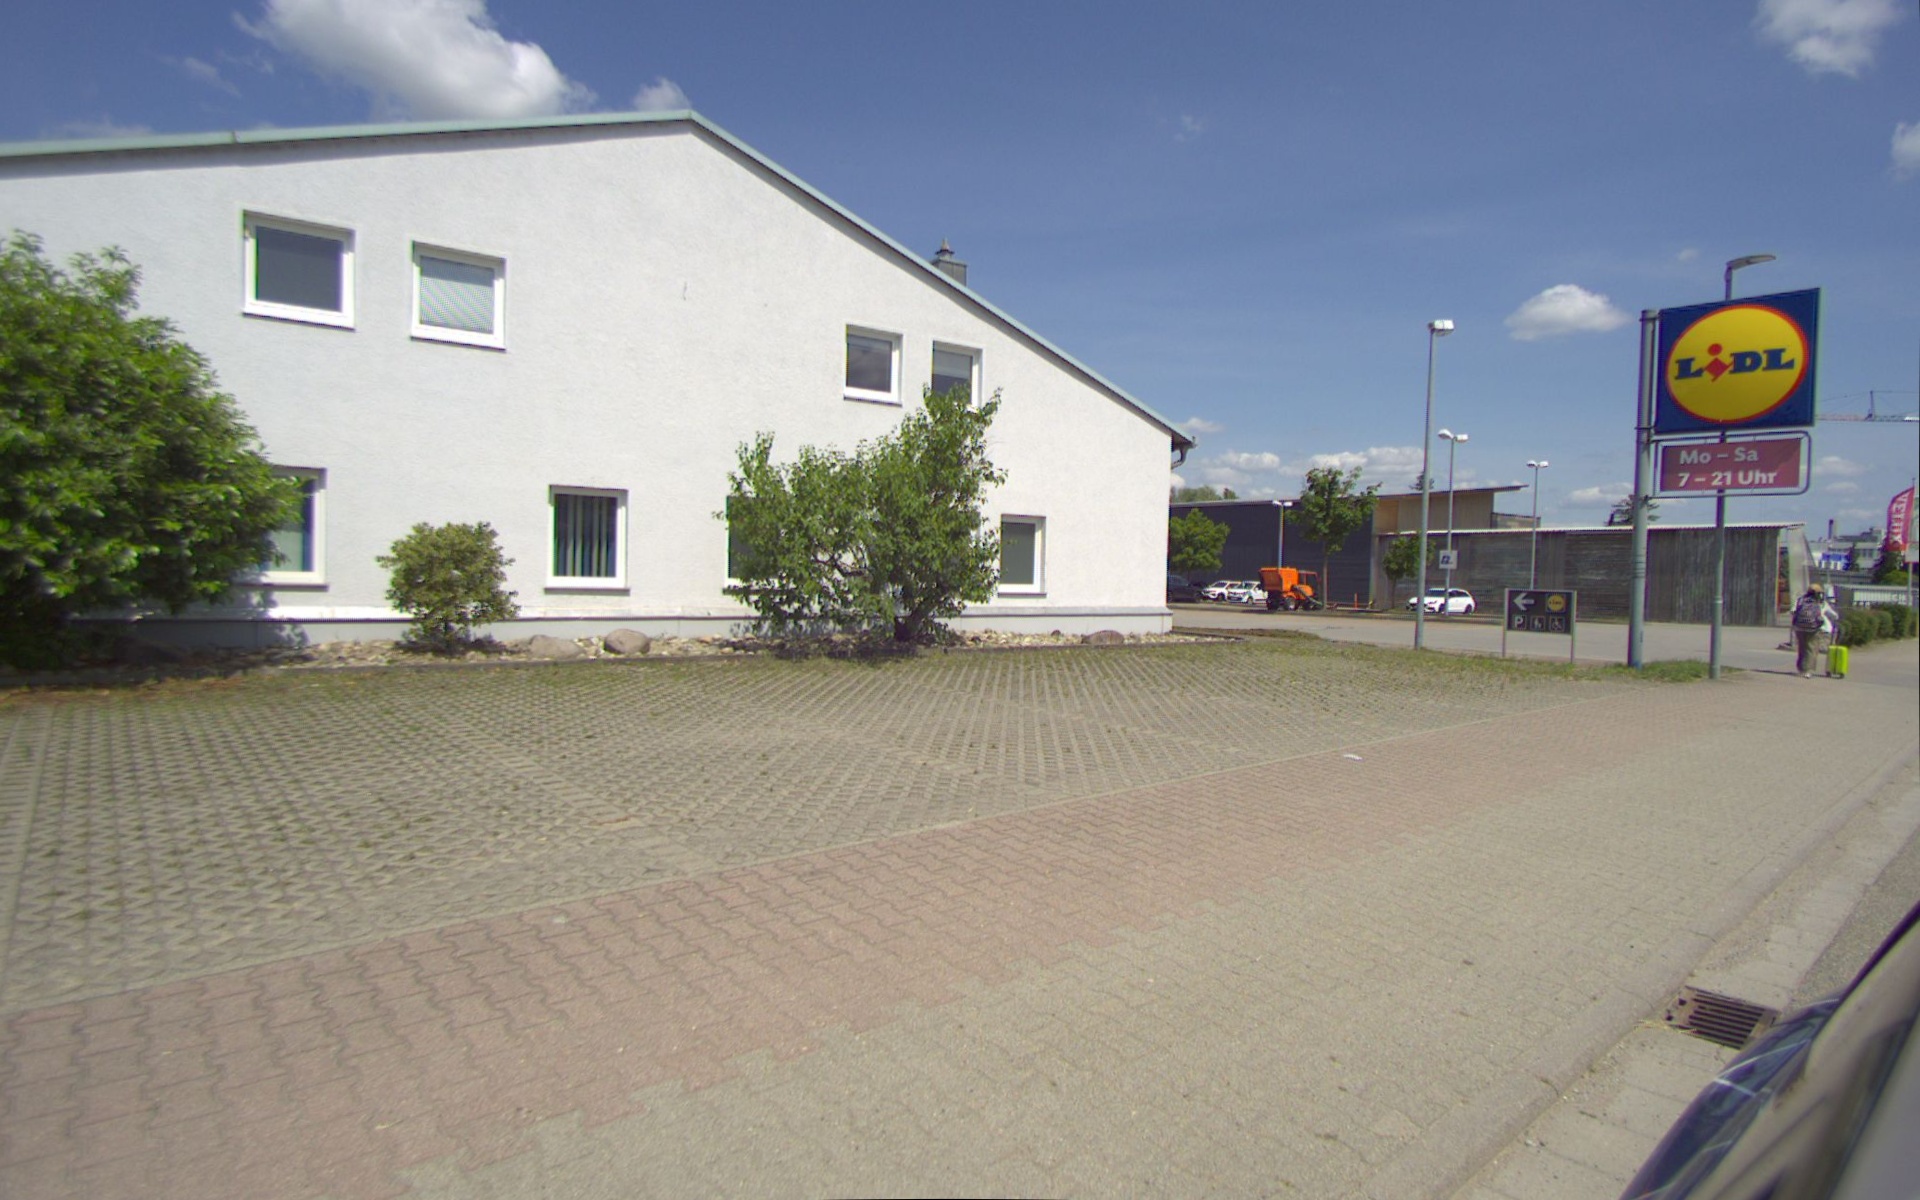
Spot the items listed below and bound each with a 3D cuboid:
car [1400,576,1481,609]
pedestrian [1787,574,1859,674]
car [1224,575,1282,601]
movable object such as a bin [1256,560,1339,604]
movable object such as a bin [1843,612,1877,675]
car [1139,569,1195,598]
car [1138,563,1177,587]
[{"bbox_3d":[25.795,-0.397,54.288,4.353,1.682,2.000,1,1,-35],"label":"car"},{"bbox_3d":[14.840,0.385,17.397,1.190,1.621,0.762,0,3,-44],"label":"pedestrian"},{"bbox_3d":[18.825,-0.772,64.973,3.927,1.593,1.584,0,2,-39],"label":"car"},{"bbox_3d":[18.434,-0.965,55.223,4.430,2.231,1.688,1,3,-29],"label":"movable object such as a bin"},{"bbox_3d":[15.468,0.738,17.398,0.491,1.042,0.374,-1,3,-45],"label":"movable object such as a bin"},{"bbox_3d":[12.940,-1.041,63.263,3.274,1.631,1.514,-2,4,-29],"label":"car"},{"bbox_3d":[13.855,-1.740,71.038,2.622,1.586,1.226,0,3,-37],"label":"car"}]
